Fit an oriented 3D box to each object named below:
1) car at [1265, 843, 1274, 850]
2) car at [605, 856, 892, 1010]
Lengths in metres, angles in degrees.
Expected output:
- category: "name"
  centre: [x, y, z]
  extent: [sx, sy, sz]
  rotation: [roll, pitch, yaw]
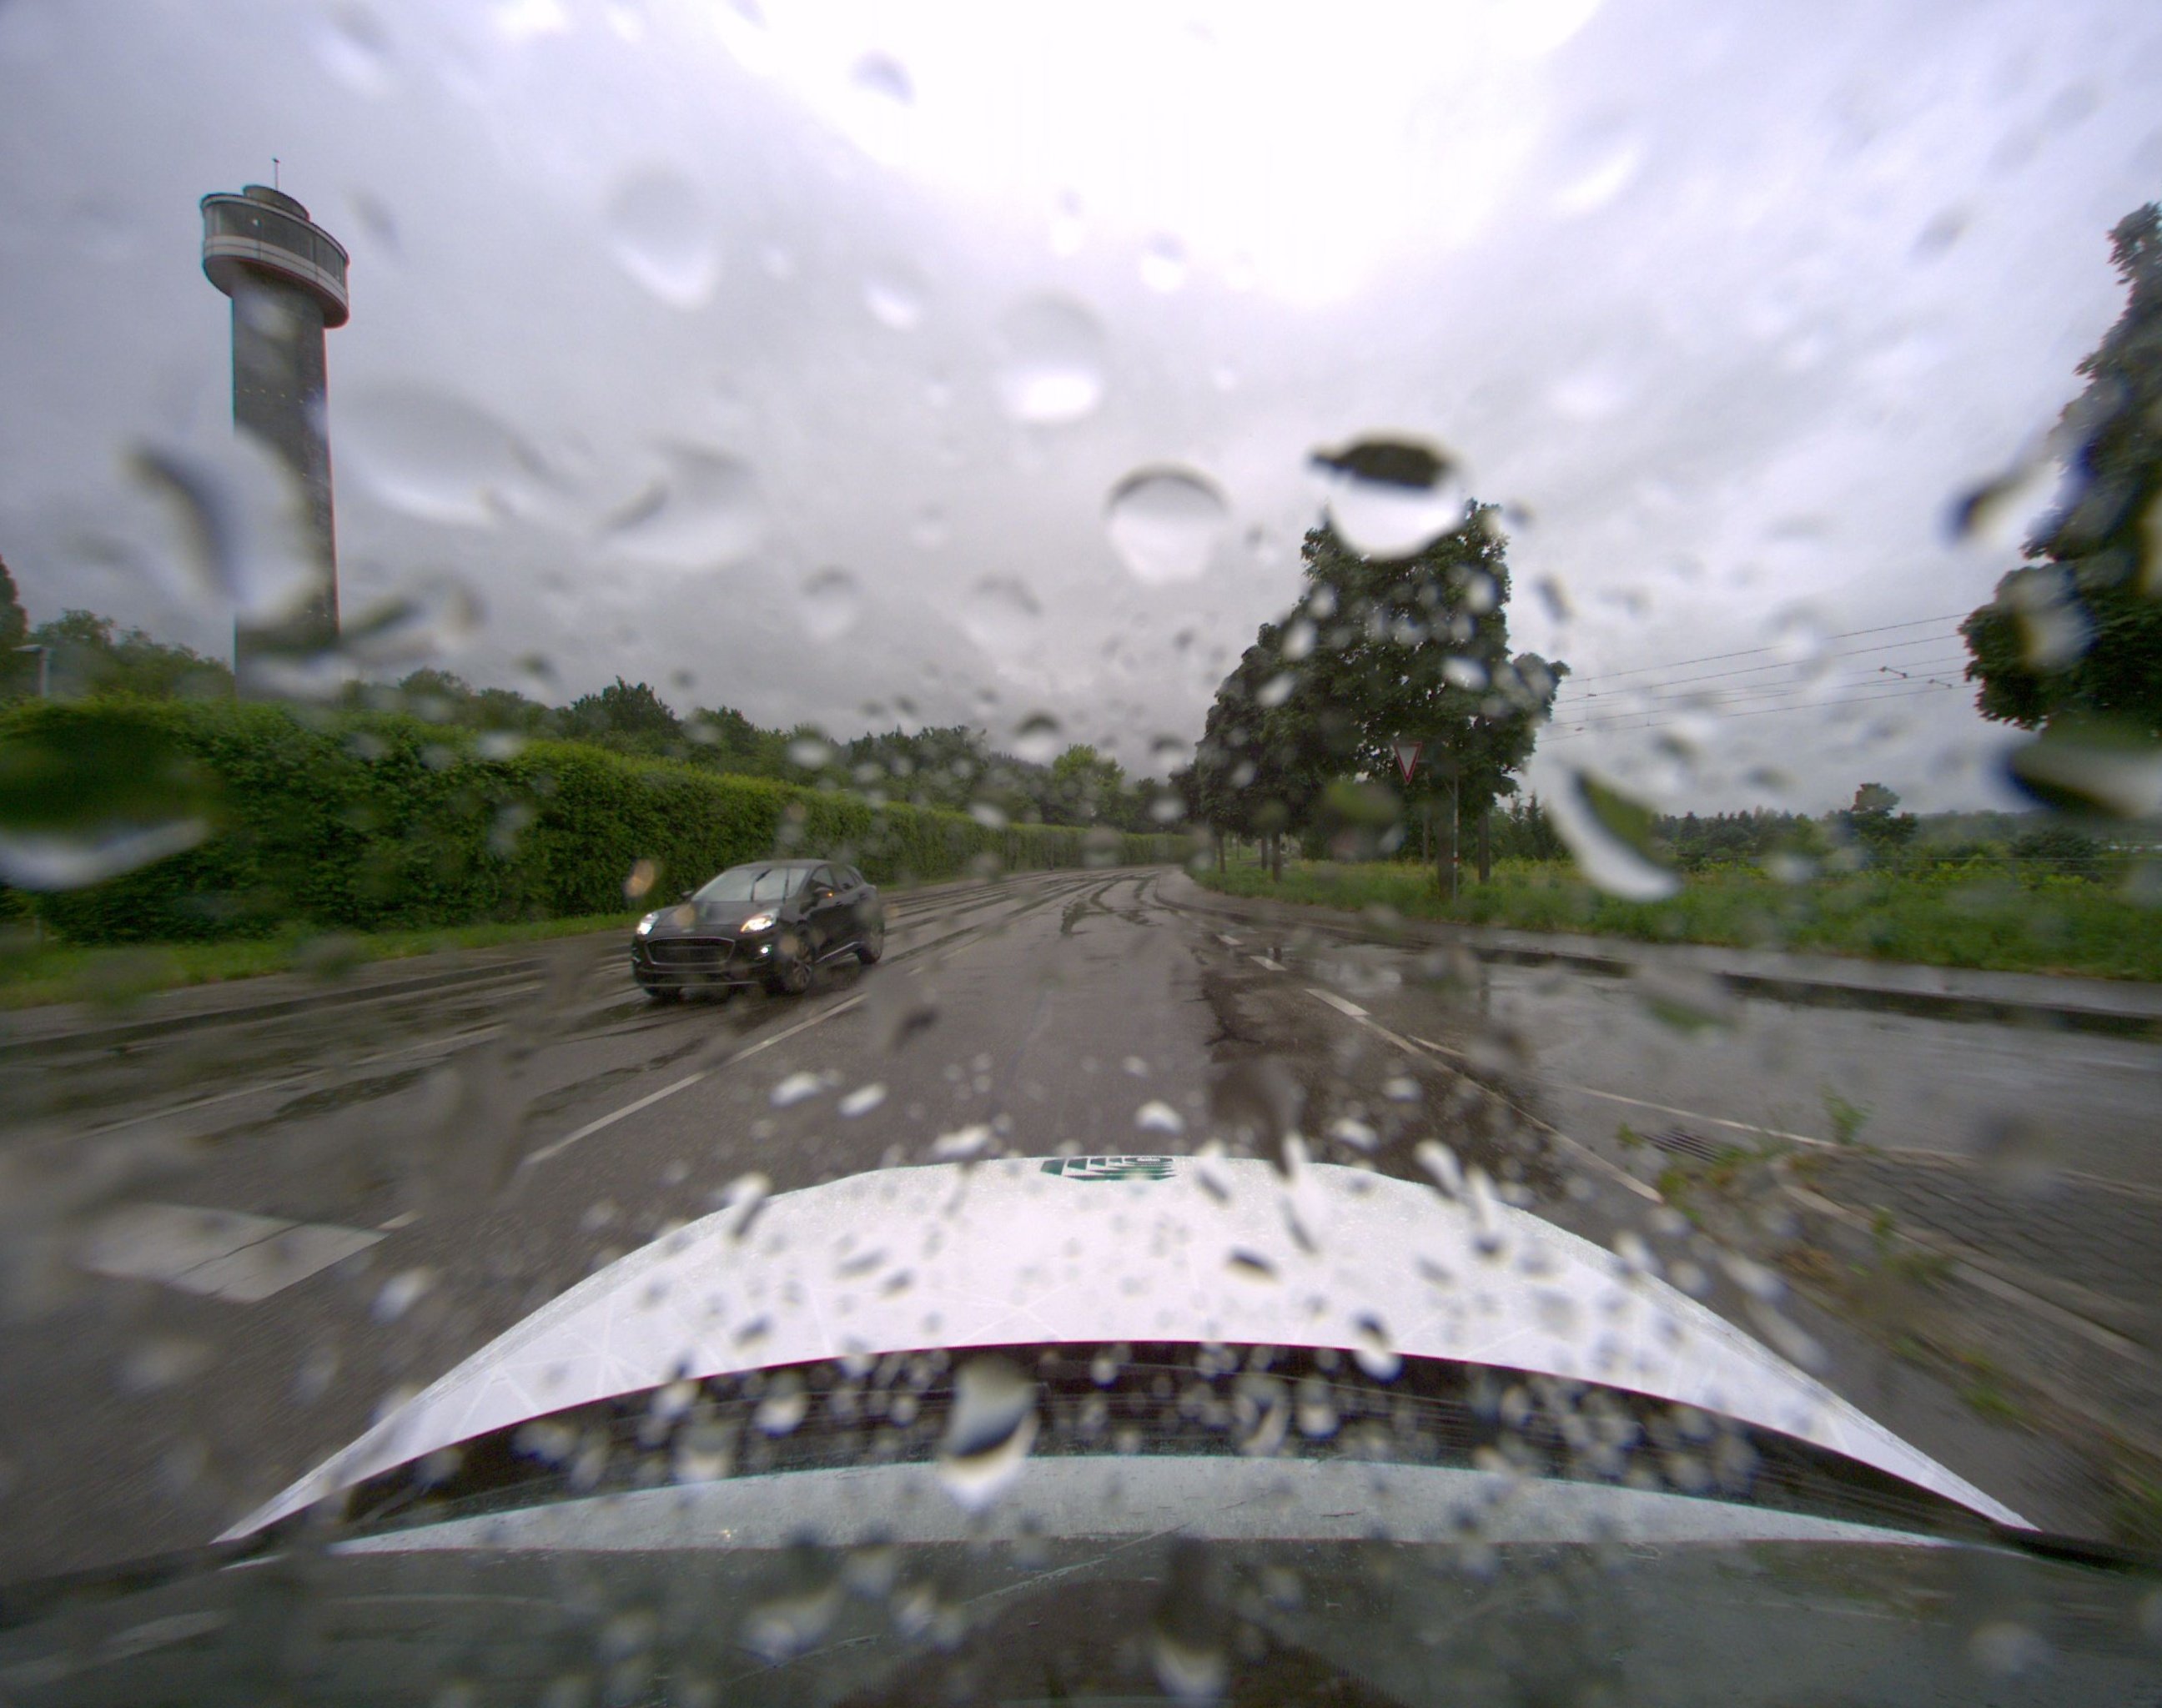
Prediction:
- category: "car"
  centre: [56.684, -2.258, 244.849]
  extent: [1.937, 1.903, 4.140]
  rotation: [-1, 1, 18]
- category: "car"
  centre: [-3.909, 0.819, 10.425]
  extent: [1.777, 1.504, 4.064]
  rotation: [-1, 0, 3]
